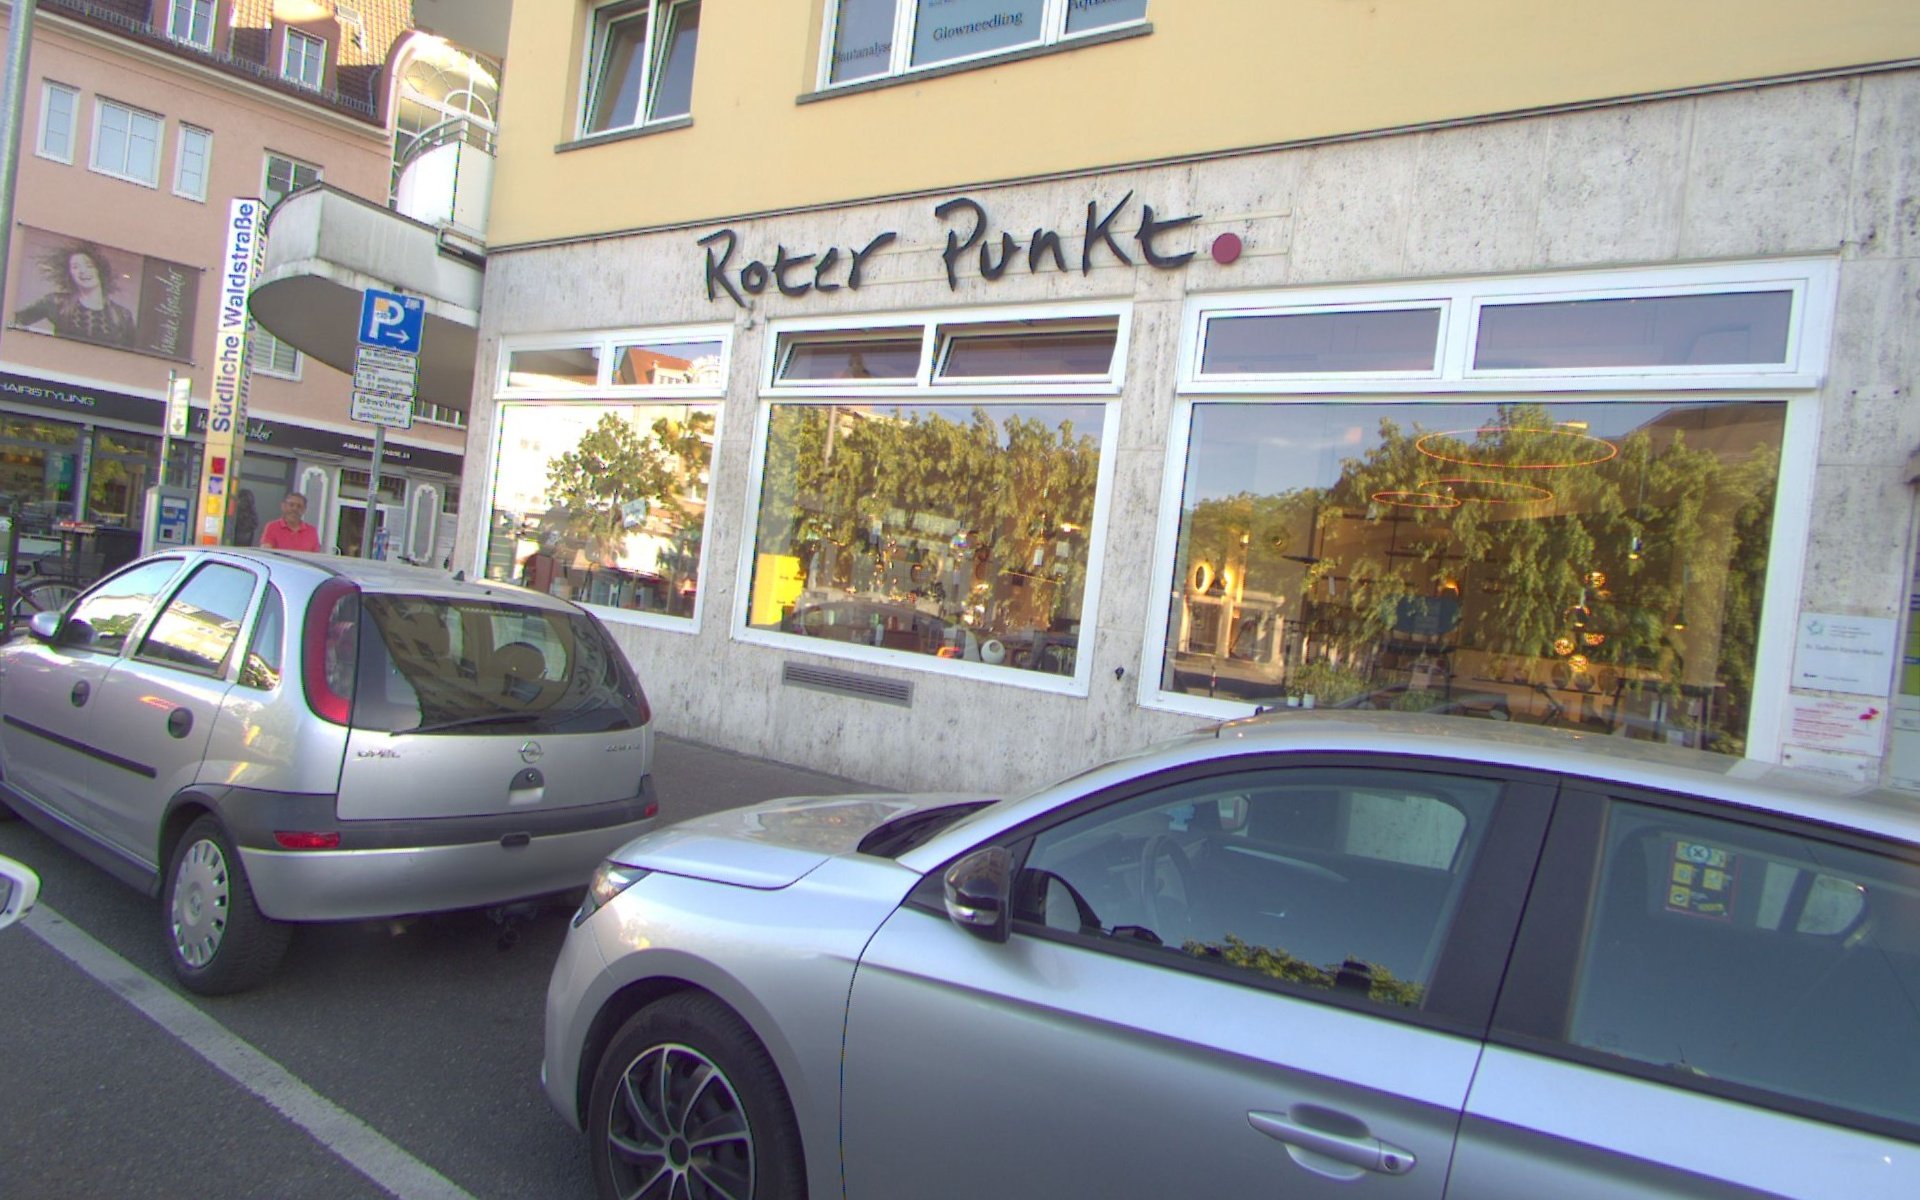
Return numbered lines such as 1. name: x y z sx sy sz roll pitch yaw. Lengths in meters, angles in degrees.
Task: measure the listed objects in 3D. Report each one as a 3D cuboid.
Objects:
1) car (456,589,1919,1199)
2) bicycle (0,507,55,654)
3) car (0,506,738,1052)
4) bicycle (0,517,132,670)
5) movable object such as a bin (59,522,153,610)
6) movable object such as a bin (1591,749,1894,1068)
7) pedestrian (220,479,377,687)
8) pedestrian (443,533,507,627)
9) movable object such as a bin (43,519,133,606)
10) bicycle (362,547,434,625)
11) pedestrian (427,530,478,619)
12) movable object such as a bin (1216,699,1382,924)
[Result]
1. car: 0.787 0.926 2.303 3.643 1.415 1.653 7 -1 30
2. bicycle: -9.102 -0.235 8.696 0.778 1.284 1.721 7 1 37
3. car: -2.933 0.480 4.455 3.583 1.397 1.616 7 -2 32
4. bicycle: -8.097 -0.084 8.222 0.681 1.208 1.885 8 1 37
5. movable object such as a bin: -11.893 -0.468 14.022 0.617 1.105 0.754 6 -1 34
6. movable object such as a bin: 3.393 1.284 4.470 0.879 1.066 0.751 7 0 32
7. pedestrian: -6.157 -0.153 9.362 0.994 1.807 0.862 7 2 40
8. pedestrian: -9.593 -0.394 19.901 0.728 1.734 0.706 7 0 38
9. movable object such as a bin: -12.429 -0.527 14.343 0.617 1.105 0.734 6 -1 34
10. bicycle: -10.046 -0.270 17.952 0.656 1.213 2.187 7 -1 -39
11. pedestrian: -10.305 -0.506 20.412 0.772 1.704 0.820 5 0 -30
12. movable object such as a bin: 1.870 1.100 5.501 0.592 1.041 0.811 7 0 32
